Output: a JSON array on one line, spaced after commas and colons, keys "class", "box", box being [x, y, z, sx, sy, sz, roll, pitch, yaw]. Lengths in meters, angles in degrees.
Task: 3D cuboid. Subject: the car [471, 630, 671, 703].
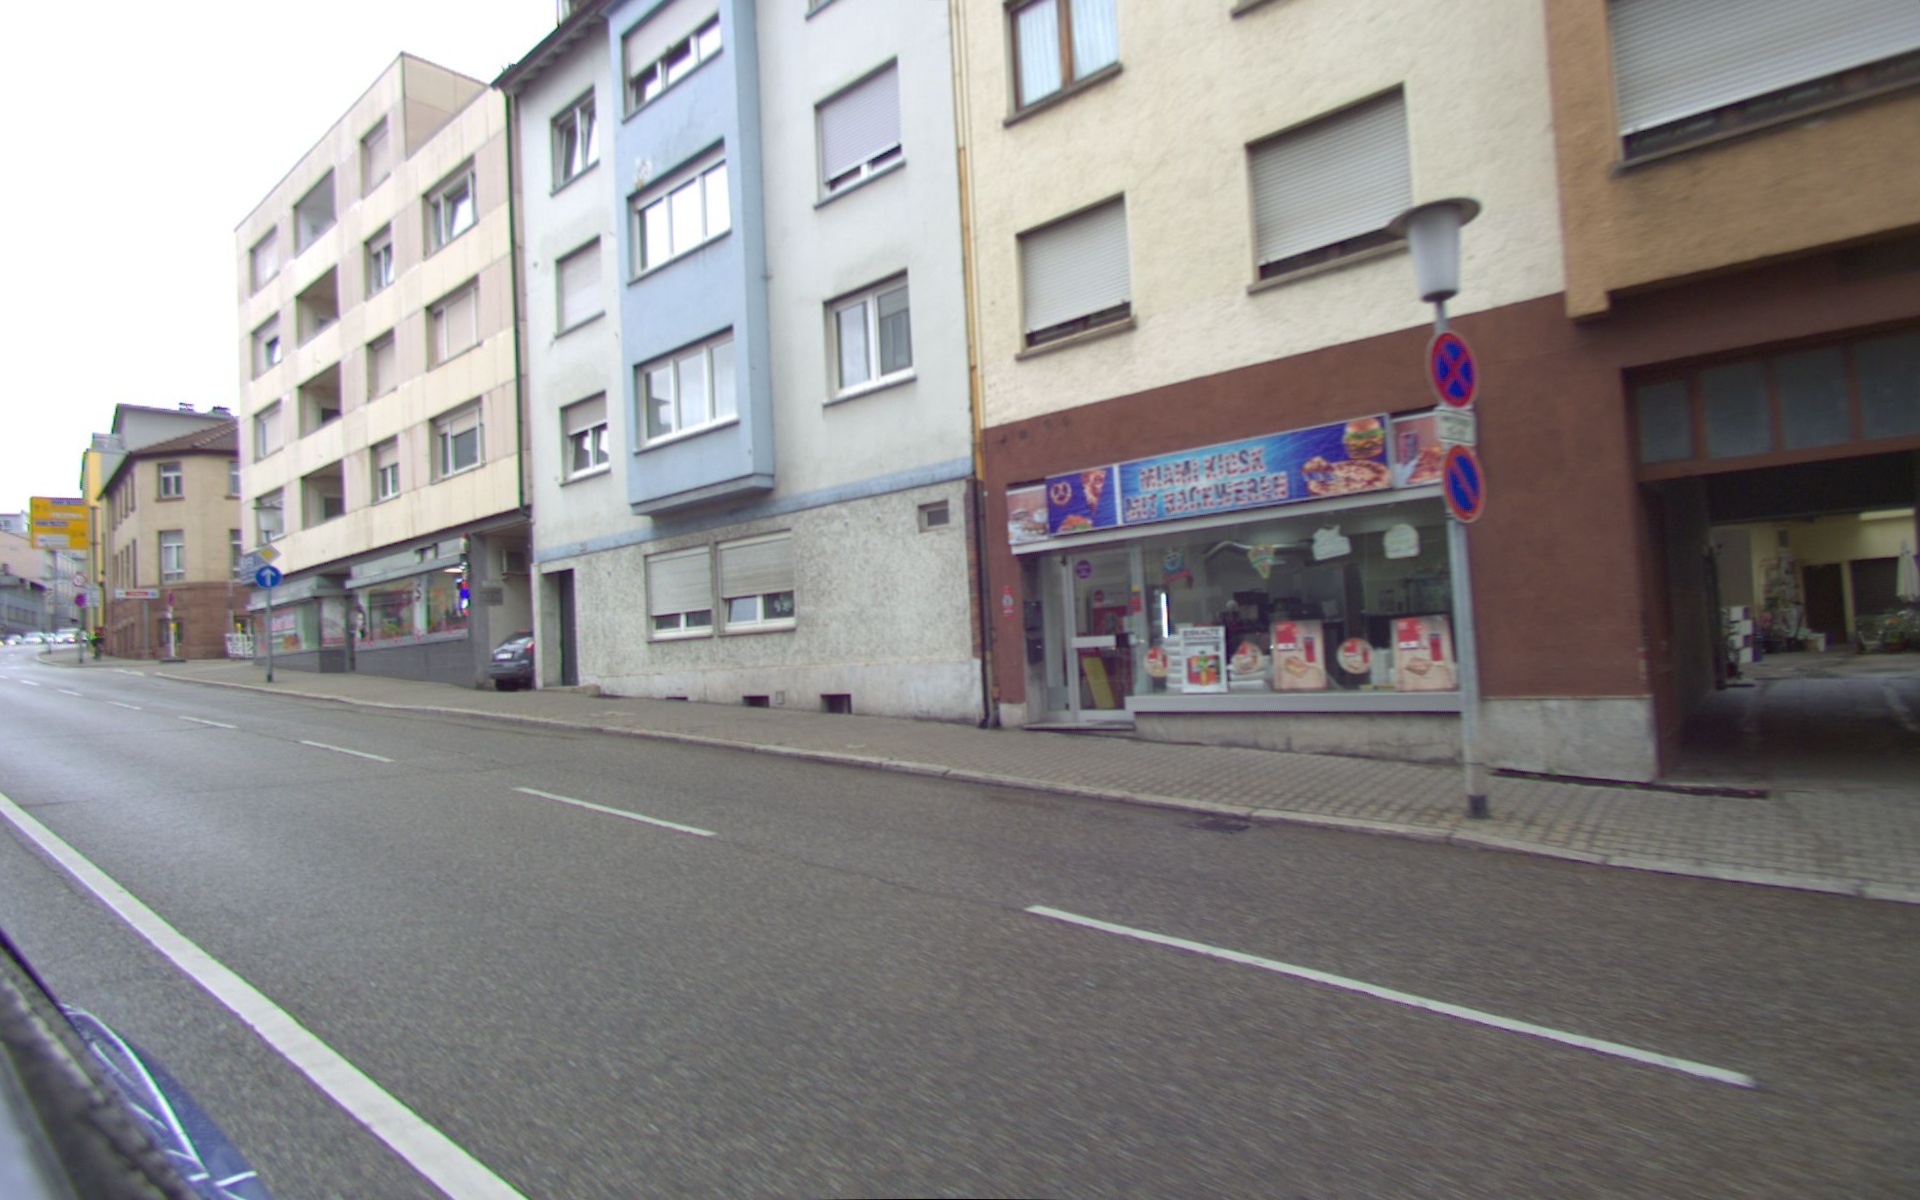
[{"class": "car", "box": [-8.725, 1.595, 23.013, 1.674, 1.361, 3.954, -4, -9, 33]}]
